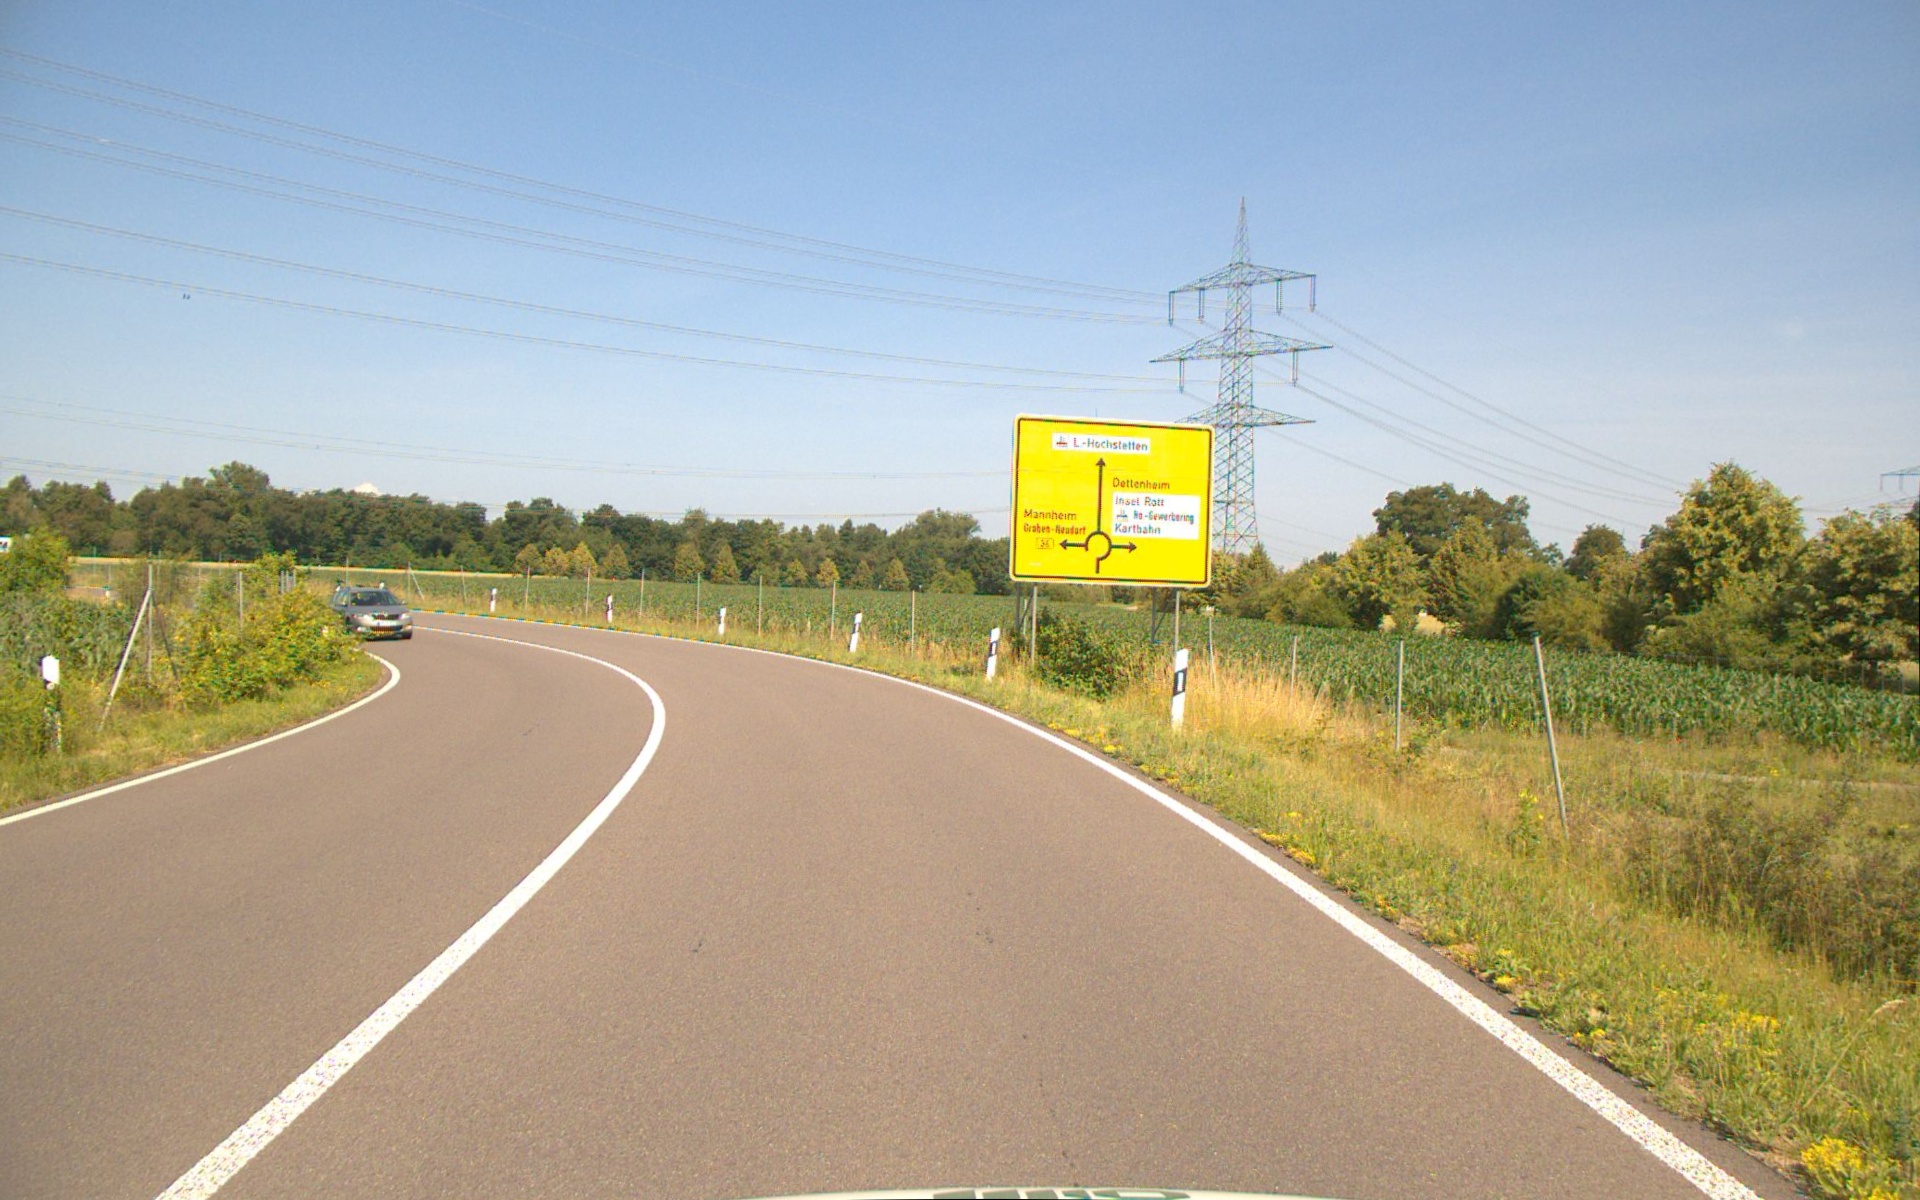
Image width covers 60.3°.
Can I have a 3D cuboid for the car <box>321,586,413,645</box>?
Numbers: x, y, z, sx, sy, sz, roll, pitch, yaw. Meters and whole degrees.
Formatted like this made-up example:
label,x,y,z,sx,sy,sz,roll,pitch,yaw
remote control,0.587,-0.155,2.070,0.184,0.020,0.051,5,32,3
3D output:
label,x,y,z,sx,sy,sz,roll,pitch,yaw
car,-17.345,0.403,48.264,1.845,1.506,5.090,-3,2,-27
